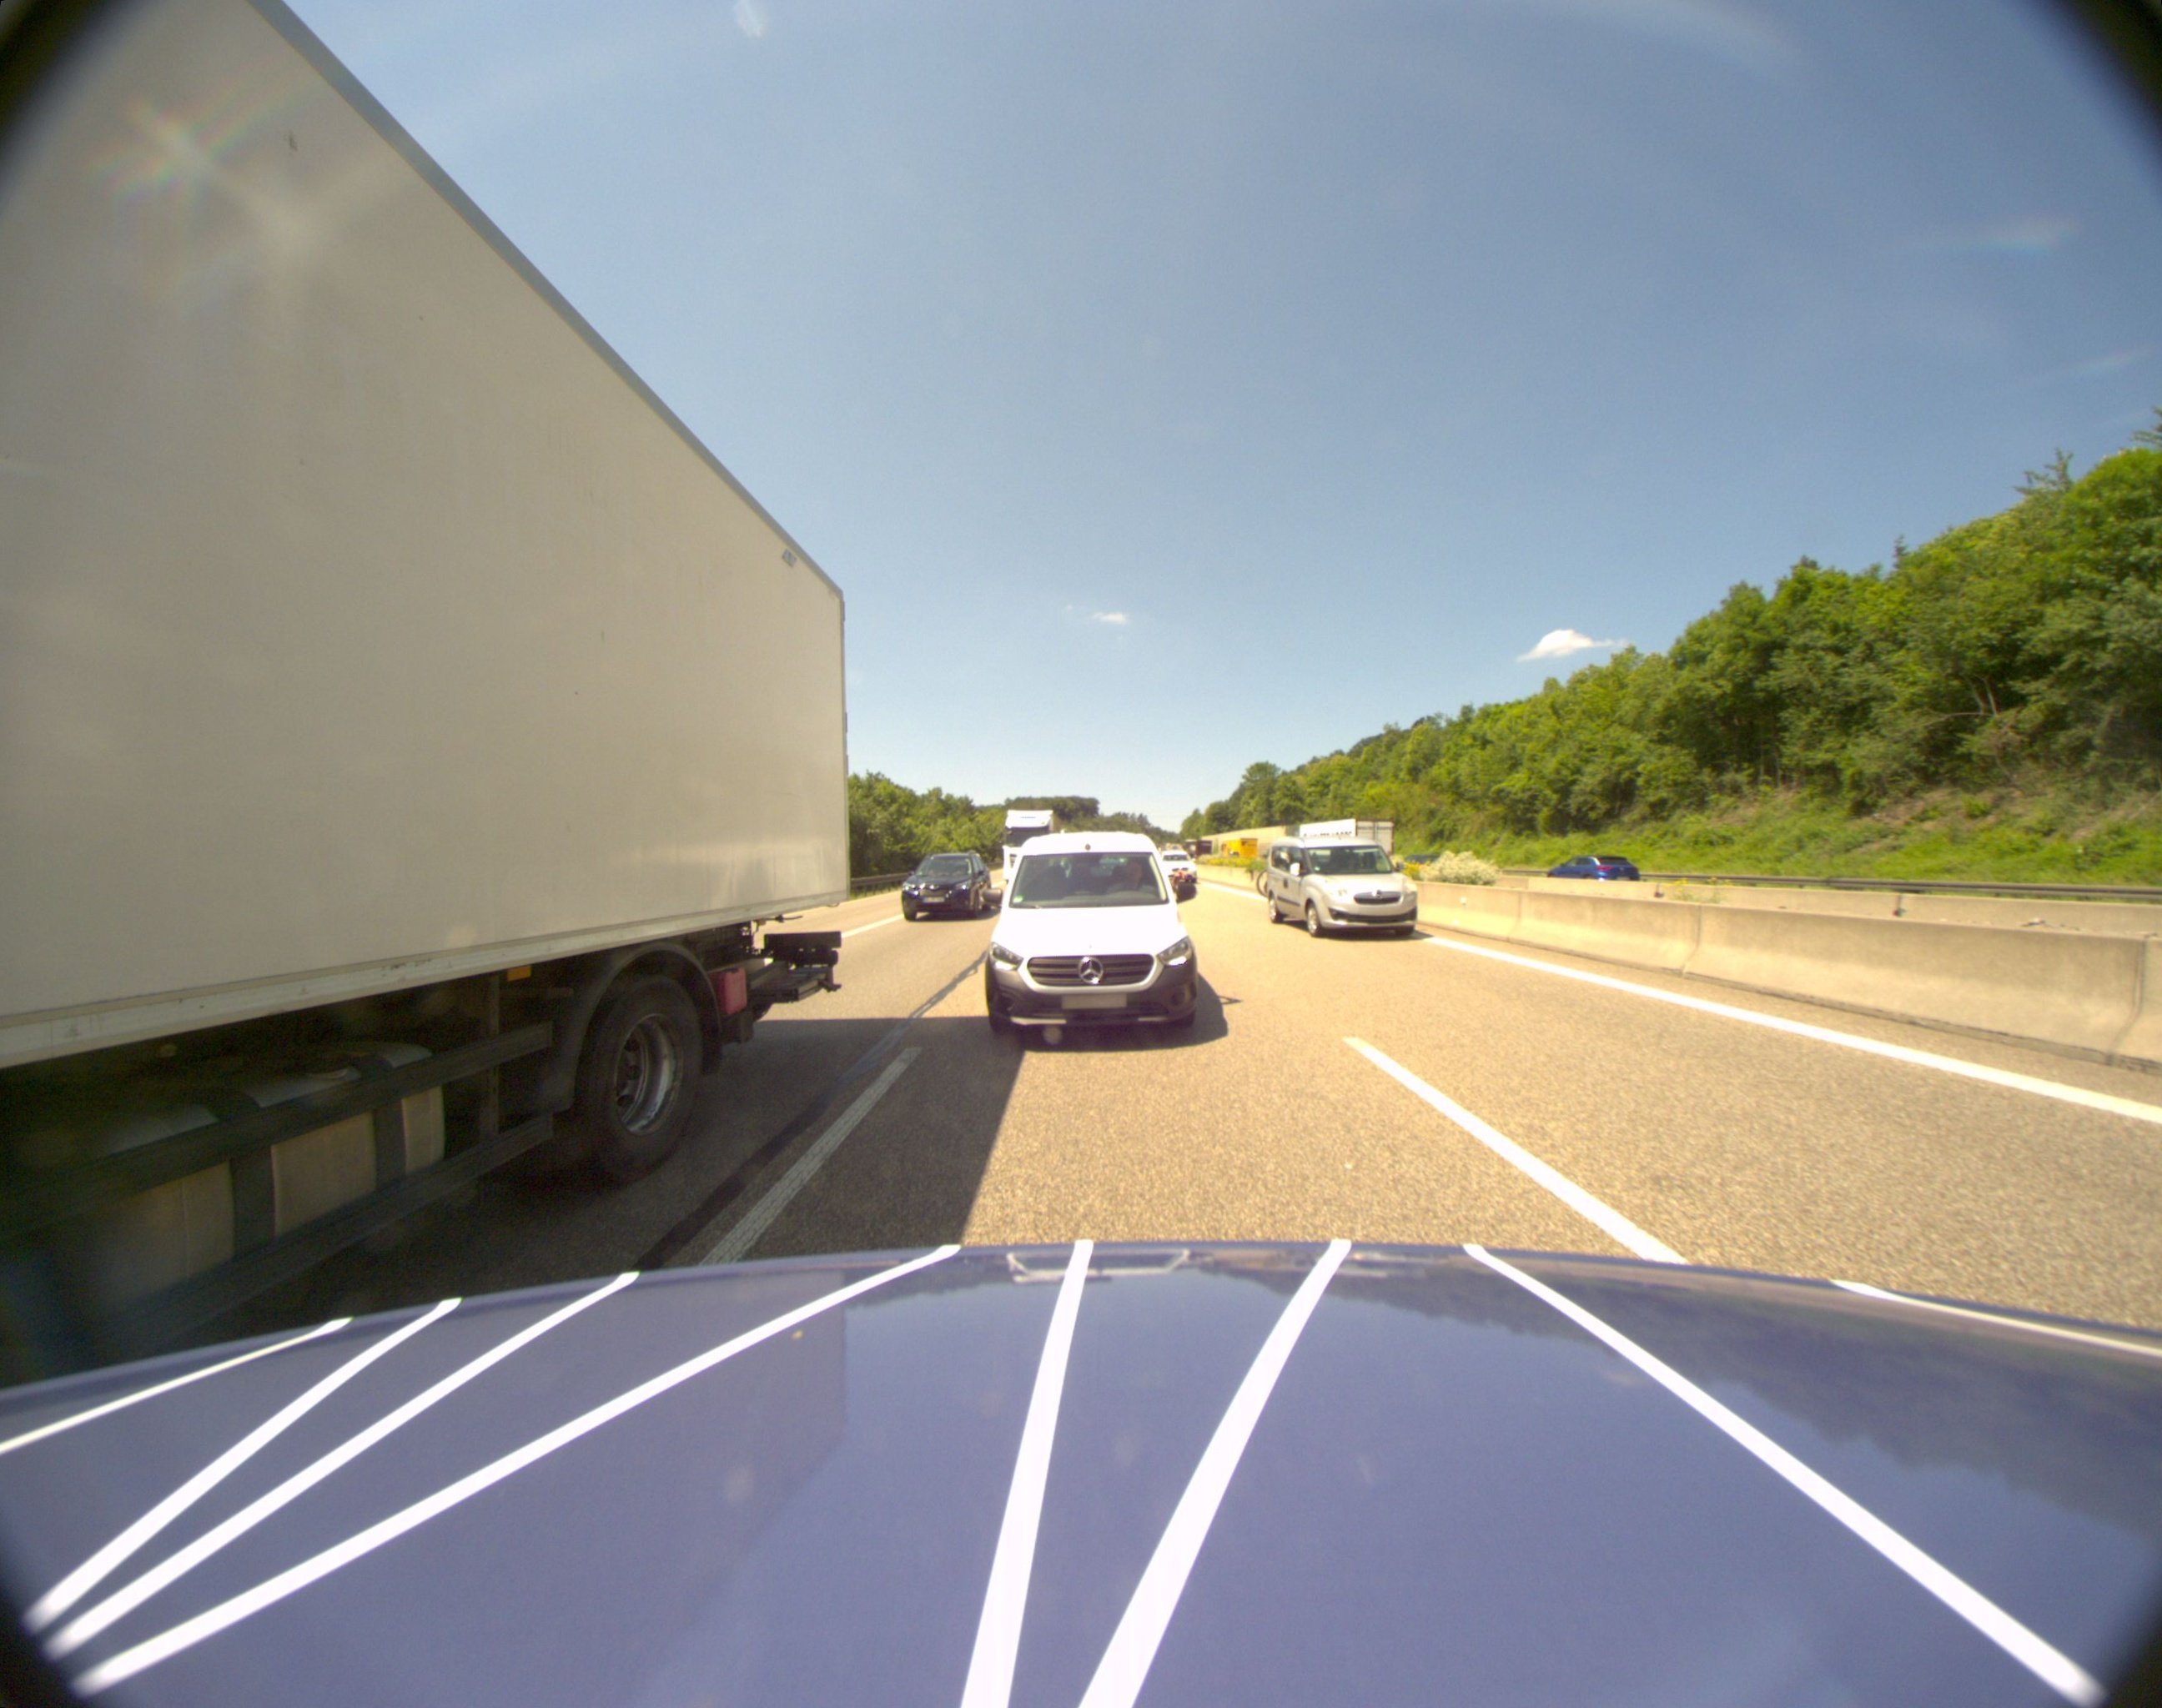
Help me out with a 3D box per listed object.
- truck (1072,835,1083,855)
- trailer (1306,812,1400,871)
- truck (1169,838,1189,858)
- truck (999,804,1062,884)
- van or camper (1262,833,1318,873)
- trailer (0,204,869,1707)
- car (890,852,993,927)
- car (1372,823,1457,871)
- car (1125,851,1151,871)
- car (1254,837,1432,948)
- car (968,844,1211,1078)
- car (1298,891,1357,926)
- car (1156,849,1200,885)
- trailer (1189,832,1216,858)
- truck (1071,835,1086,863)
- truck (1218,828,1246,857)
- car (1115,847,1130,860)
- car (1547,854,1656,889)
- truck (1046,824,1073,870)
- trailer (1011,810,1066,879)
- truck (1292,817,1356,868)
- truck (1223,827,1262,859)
[{"bbox_3d":[-0.756,-1.832,161.722,2.187,4.073,10.869,-2,0,0],"label":"truck"},{"bbox_3d":[19.999,-0.912,56.925,3.004,3.849,11.398,-2,1,1],"label":"trailer"},{"bbox_3d":[23.679,-1.333,184.191,3.277,4.518,14.101,-2,0,1],"label":"truck"},{"bbox_3d":[-2.761,-0.576,43.442,2.766,4.060,7.333,-2,1,2],"label":"truck"},{"bbox_3d":[16.197,-0.118,59.309,2.400,2.859,6.710,-2,1,0],"label":"van or camper"},{"bbox_3d":[-3.300,0.230,2.935,2.562,2.882,7.882,-2,0,1],"label":"trailer"},{"bbox_3d":[-3.549,0.839,20.221,1.999,1.682,4.609,-1,1,-2],"label":"car"},{"bbox_3d":[15.120,-0.343,34.704,1.999,2.002,3.999,-2,1,-1],"label":"car"},{"bbox_3d":[5.421,0.645,72.558,1.999,1.747,3.998,-2,1,-2],"label":"car"},{"bbox_3d":[4.845,0.598,14.890,1.857,1.762,4.917,-2,1,2],"label":"car"},{"bbox_3d":[0.100,0.780,7.855,1.756,1.681,4.363,-2,1,1],"label":"car"},{"bbox_3d":[12.368,2.725,38.377,1.707,1.443,4.000,-1,0,1],"label":"car"},{"bbox_3d":[5.068,0.632,40.059,1.824,1.696,3.999,-2,1,1],"label":"car"},{"bbox_3d":[20.930,-1.619,131.218,3.443,4.170,7.896,-2,1,1],"label":"trailer"},{"bbox_3d":[-0.408,-0.783,127.594,2.187,4.437,10.869,-2,0,0],"label":"truck"},{"bbox_3d":[24.845,-1.898,125.112,3.099,4.519,7.093,-2,1,1],"label":"truck"},{"bbox_3d":[6.420,-0.097,116.829,1.999,2.002,3.999,0,1,-1],"label":"car"},{"bbox_3d":[21.785,0.697,32.012,1.998,1.326,4.001,-1,0,3],"label":"car"},{"bbox_3d":[-2.134,-0.614,79.815,2.394,4.437,10.869,-2,0,0],"label":"truck"},{"bbox_3d":[-2.609,-0.640,50.156,2.766,4.060,11.615,0,1,1],"label":"trailer"},{"bbox_3d":[20.029,-0.922,63.026,2.947,3.897,7.215,-2,1,1],"label":"truck"},{"bbox_3d":[24.712,-1.770,117.074,3.099,4.519,14.097,-2,1,1],"label":"truck"}]
